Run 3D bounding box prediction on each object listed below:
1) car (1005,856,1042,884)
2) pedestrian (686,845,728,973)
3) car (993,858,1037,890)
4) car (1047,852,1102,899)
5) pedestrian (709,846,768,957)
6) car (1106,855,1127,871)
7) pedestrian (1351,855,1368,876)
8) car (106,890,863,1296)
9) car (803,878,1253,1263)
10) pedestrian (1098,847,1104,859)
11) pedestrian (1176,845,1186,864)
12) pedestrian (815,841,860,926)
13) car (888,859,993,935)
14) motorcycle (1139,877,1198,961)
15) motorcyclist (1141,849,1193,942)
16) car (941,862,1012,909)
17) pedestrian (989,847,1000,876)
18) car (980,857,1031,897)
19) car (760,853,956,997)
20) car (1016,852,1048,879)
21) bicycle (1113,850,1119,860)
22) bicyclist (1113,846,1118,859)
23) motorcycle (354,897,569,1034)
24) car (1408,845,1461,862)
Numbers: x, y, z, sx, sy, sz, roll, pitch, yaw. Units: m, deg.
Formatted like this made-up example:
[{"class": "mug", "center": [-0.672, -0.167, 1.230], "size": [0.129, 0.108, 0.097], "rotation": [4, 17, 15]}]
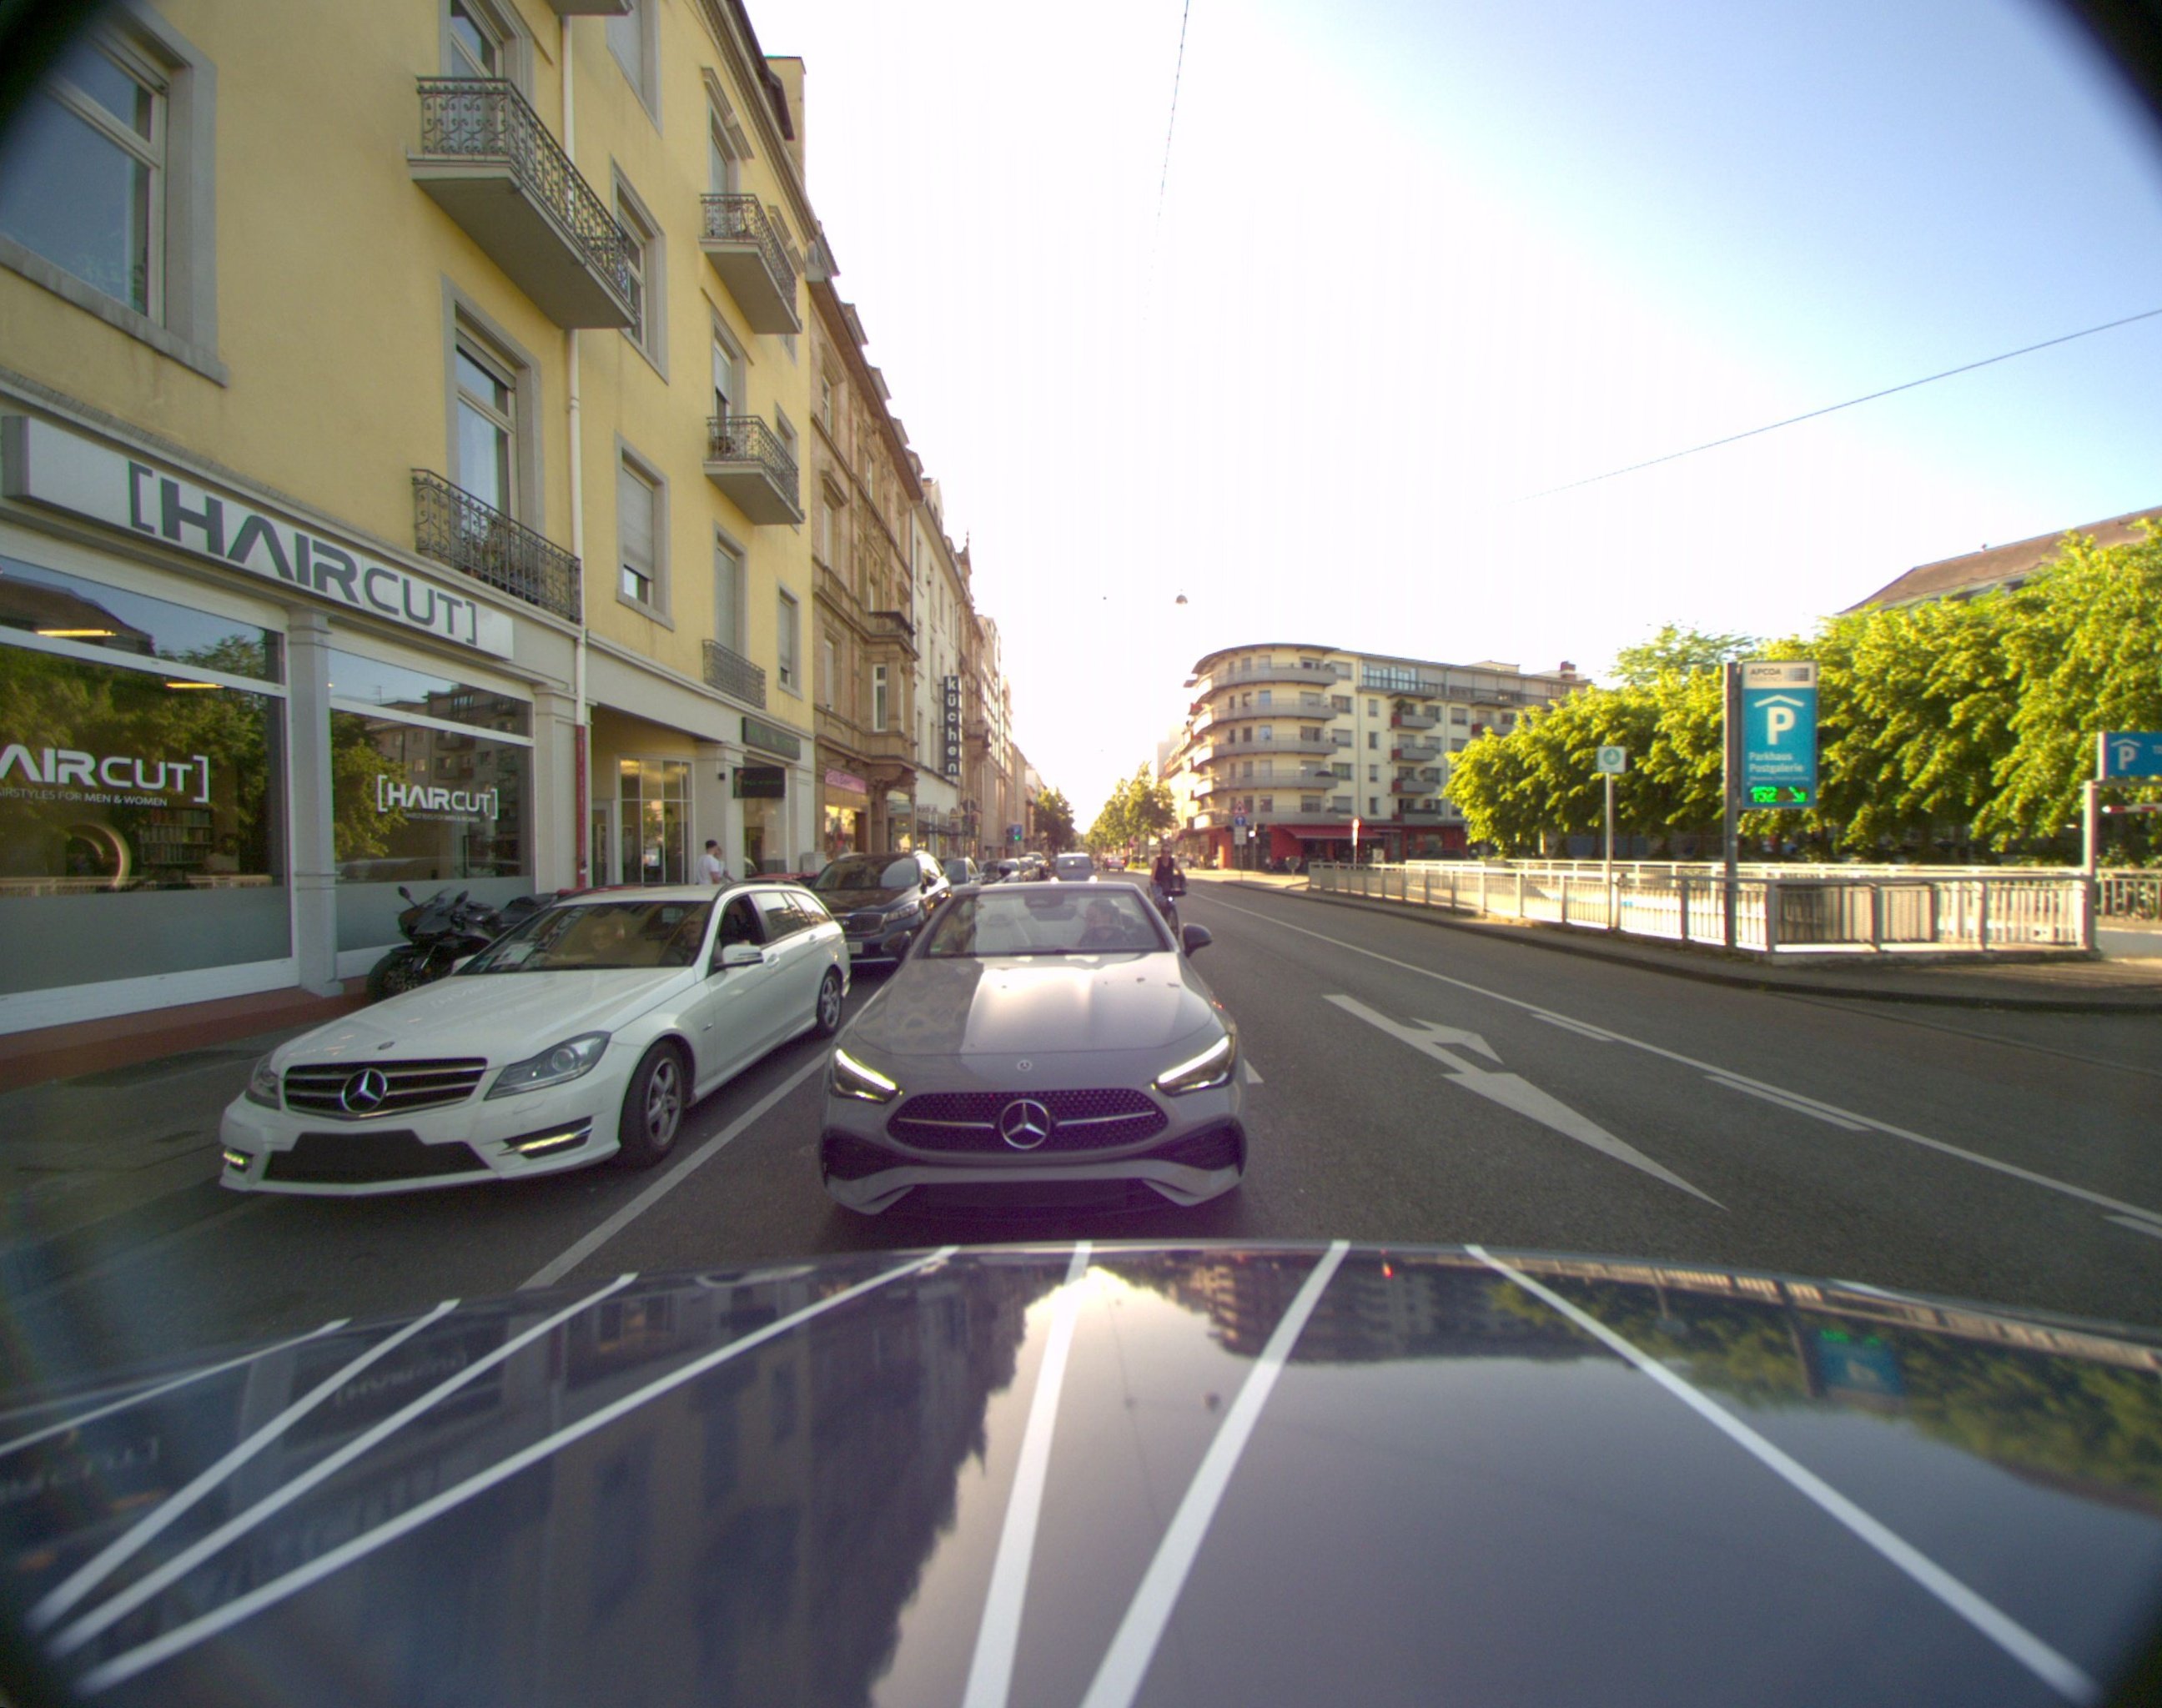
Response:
[{"class": "car", "center": [-3.073, 0.840, 41.336], "size": [1.725, 1.332, 3.668], "rotation": [-2, 1, -1]}, {"class": "pedestrian", "center": [-5.931, 0.850, 12.039], "size": [0.375, 1.971, 0.692], "rotation": [-2, 1, -43]}, {"class": "car", "center": [-3.167, 0.942, 36.929], "size": [1.802, 1.332, 3.838], "rotation": [-2, 1, -1]}, {"class": "car", "center": [-0.215, 0.751, 28.439], "size": [1.856, 1.543, 3.999], "rotation": [-2, 1, 1]}, {"class": "pedestrian", "center": [-5.902, 0.800, 13.113], "size": [0.664, 1.840, 0.575], "rotation": [-2, 1, 2]}, {"class": "car", "center": [3.340, 0.802, 72.089], "size": [1.823, 1.346, 4.264], "rotation": [1, 1, 0]}, {"class": "pedestrian", "center": [21.618, 0.888, 59.038], "size": [0.863, 1.586, 0.887], "rotation": [-3, 1, -38]}, {"class": "car", "center": [-3.054, 1.082, 5.283], "size": [1.704, 1.351, 4.378], "rotation": [-2, 1, 1]}, {"class": "car", "center": [-0.260, 0.953, 5.138], "size": [1.802, 1.351, 3.999], "rotation": [-2, 1, -2]}, {"class": "pedestrian", "center": [3.293, -0.201, 126.247], "size": [0.860, 2.002, 0.889], "rotation": [-2, 1, 1]}, {"class": "pedestrian", "center": [10.422, 0.047, 79.285], "size": [0.860, 2.002, 0.889], "rotation": [-2, 1, 0]}, {"class": "pedestrian", "center": [-4.877, 0.578, 15.230], "size": [0.720, 1.644, 0.604], "rotation": [-2, 1, -26]}, {"class": "car", "center": [-3.293, 0.942, 18.593], "size": [1.802, 1.518, 4.085], "rotation": [-2, 1, -1]}, {"class": "motorcycle", "center": [1.393, 1.012, 12.430], "size": [0.720, 1.177, 1.906], "rotation": [-2, 1, 1]}, {"class": "motorcyclist", "center": [1.382, 0.652, 12.327], "size": [0.722, 1.438, 0.705], "rotation": [-2, 1, 1]}, {"class": "car", "center": [-3.397, 0.991, 25.365], "size": [1.802, 1.259, 4.085], "rotation": [-2, 1, -1]}, {"class": "pedestrian", "center": [-5.706, 0.495, 50.380], "size": [0.574, 1.840, 0.665], "rotation": [-2, 1, 1]}, {"class": "car", "center": [-2.984, 0.874, 30.759], "size": [1.660, 1.423, 4.085], "rotation": [-2, 1, -1]}, {"class": "car", "center": [-3.037, 0.856, 11.309], "size": [1.803, 1.629, 4.243], "rotation": [-2, 1, -3]}, {"class": "car", "center": [-2.996, 0.695, 47.439], "size": [1.725, 1.506, 4.004], "rotation": [-2, 1, -1]}, {"class": "bicycle", "center": [4.163, 0.119, 91.405], "size": [0.527, 1.163, 1.594], "rotation": [-2, 1, 8]}, {"class": "bicyclist", "center": [4.143, -0.209, 91.350], "size": [0.524, 1.539, 0.799], "rotation": [-2, 1, 7]}, {"class": "motorcycle", "center": [-6.168, 1.043, 7.731], "size": [0.567, 1.072, 1.954], "rotation": [2, 1, 1]}, {"class": "car", "center": [29.050, -0.056, 62.444], "size": [4.004, 1.294, 1.753], "rotation": [-2, 1, -23]}]
